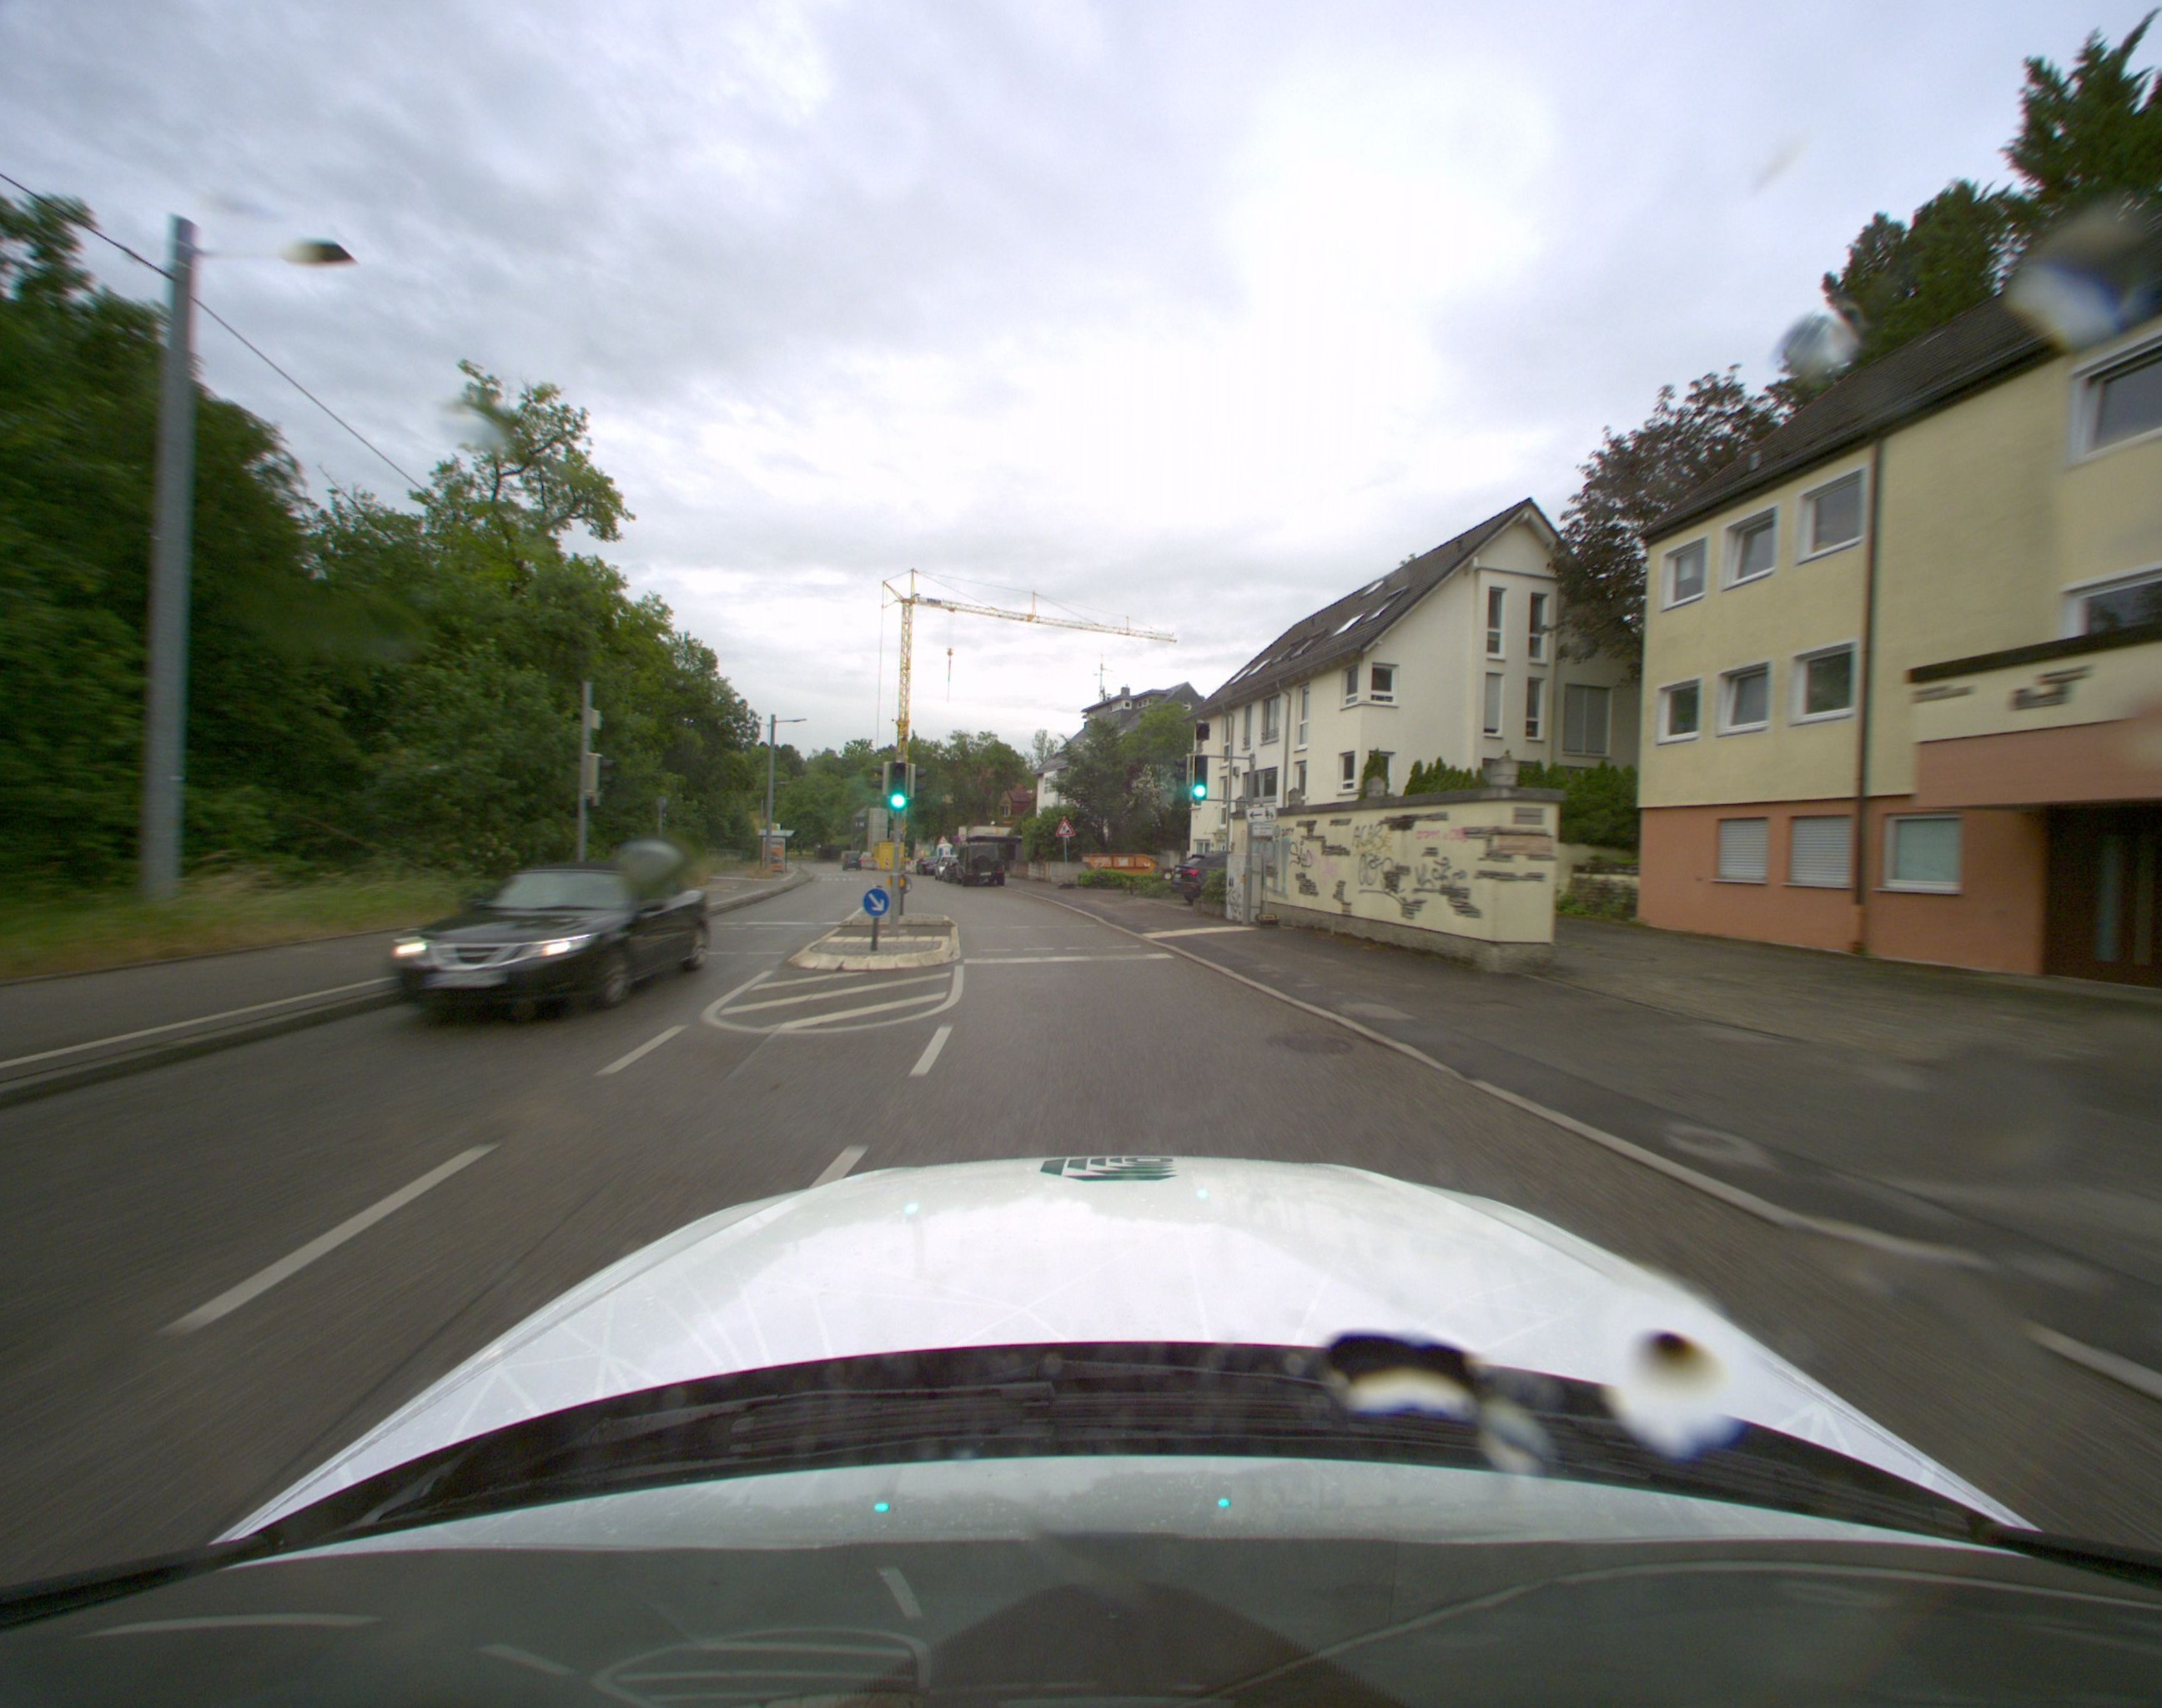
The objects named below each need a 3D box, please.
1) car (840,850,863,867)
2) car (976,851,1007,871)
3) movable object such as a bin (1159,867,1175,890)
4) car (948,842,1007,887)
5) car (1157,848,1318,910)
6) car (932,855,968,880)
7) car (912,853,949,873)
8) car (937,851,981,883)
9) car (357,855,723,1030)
[{"bbox_3d":[-23.912,0.442,84.874,1.939,1.751,3.972,1,0,-21],"label":"car"},{"bbox_3d":[-7.335,0.587,66.399,1.699,1.472,3.977,4,-1,-17],"label":"car"},{"bbox_3d":[3.630,1.033,34.427,0.508,0.941,0.592,0,0,-16],"label":"movable object such as a bin"},{"bbox_3d":[-5.103,0.472,39.641,1.998,2.013,4.928,-1,0,-17],"label":"car"},{"bbox_3d":[4.729,0.765,24.797,4.333,1.596,1.982,4,-1,-14],"label":"car"},{"bbox_3d":[-7.811,0.779,48.441,1.677,1.457,3.366,0,0,-17],"label":"car"},{"bbox_3d":[-11.525,0.665,62.266,1.939,1.422,4.803,1,0,-21],"label":"car"},{"bbox_3d":[-6.690,0.700,44.430,1.935,1.596,4.373,-2,0,-14],"label":"car"},{"bbox_3d":[-5.557,0.766,9.153,1.743,1.460,4.399,0,-1,-10],"label":"car"}]
